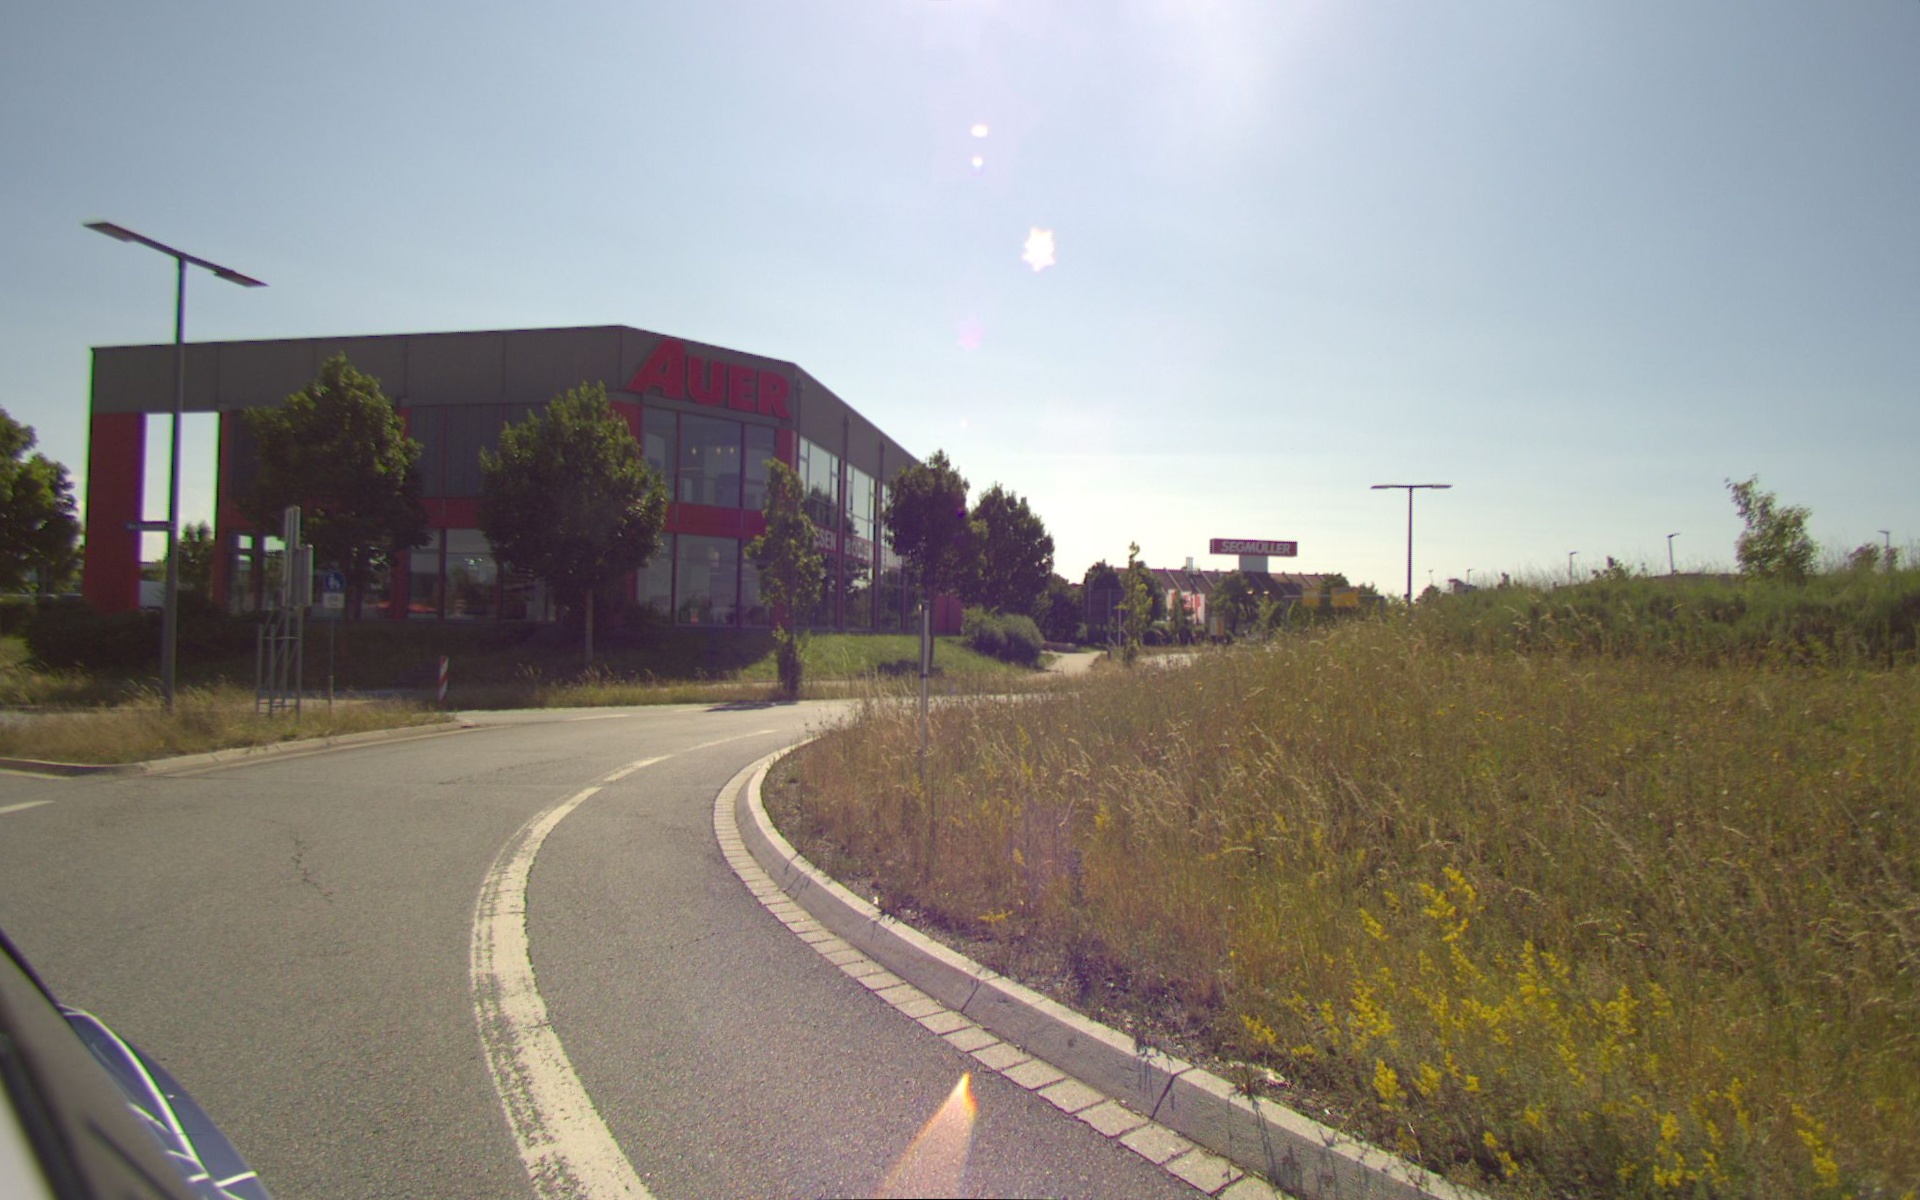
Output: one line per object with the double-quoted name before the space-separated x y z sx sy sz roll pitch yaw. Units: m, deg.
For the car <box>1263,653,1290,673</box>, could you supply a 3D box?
"car" 27.850 5.524 89.050 1.717 1.586 4.240 -1 -3 25
